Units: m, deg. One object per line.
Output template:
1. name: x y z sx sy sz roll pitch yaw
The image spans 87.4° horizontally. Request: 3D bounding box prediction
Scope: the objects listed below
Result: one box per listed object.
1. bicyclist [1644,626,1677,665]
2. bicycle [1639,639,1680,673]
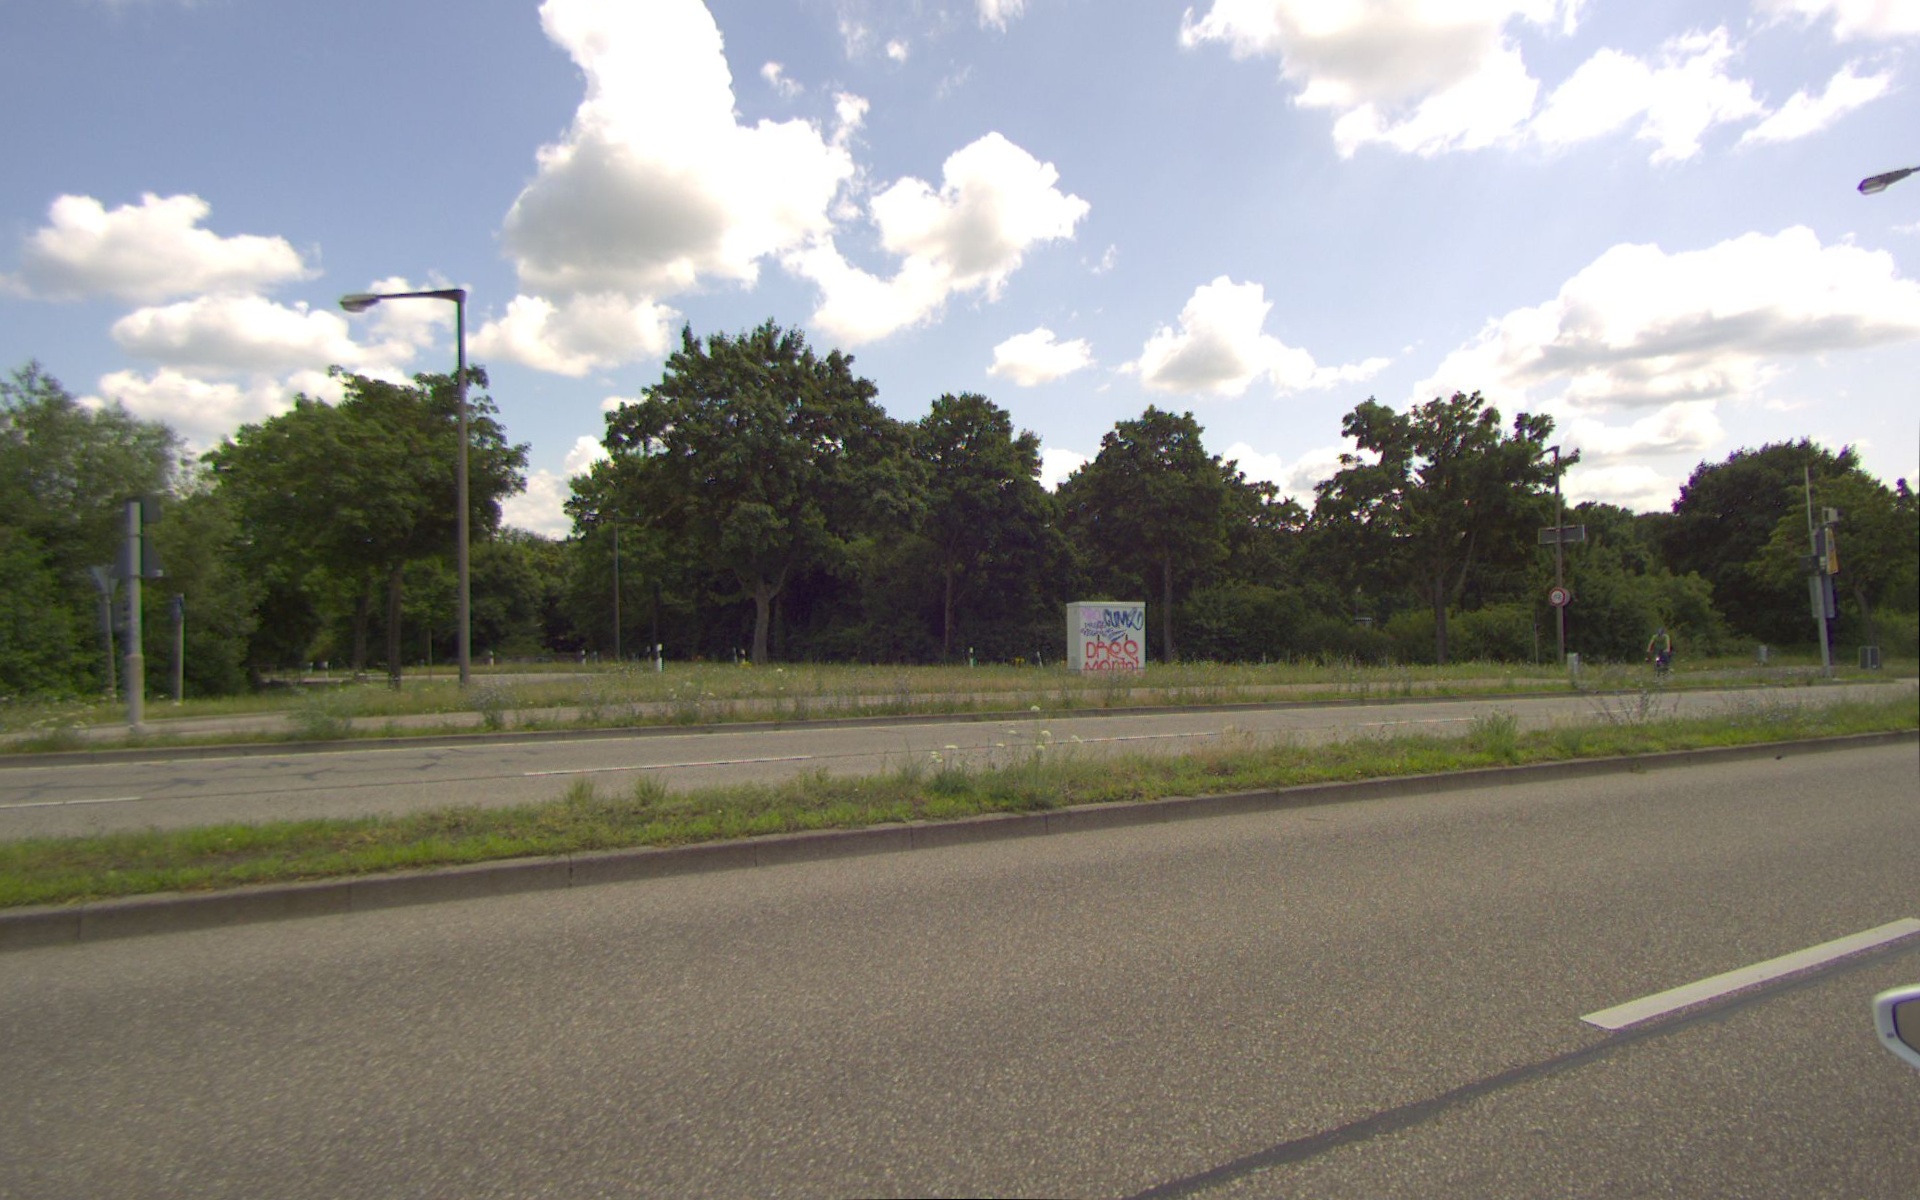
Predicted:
1. bicyclist: 23.574 1.522 33.790 1.094 1.289 0.518 0 1 -32
2. bicycle: 23.498 1.865 33.731 1.886 1.082 0.429 0 0 -32
